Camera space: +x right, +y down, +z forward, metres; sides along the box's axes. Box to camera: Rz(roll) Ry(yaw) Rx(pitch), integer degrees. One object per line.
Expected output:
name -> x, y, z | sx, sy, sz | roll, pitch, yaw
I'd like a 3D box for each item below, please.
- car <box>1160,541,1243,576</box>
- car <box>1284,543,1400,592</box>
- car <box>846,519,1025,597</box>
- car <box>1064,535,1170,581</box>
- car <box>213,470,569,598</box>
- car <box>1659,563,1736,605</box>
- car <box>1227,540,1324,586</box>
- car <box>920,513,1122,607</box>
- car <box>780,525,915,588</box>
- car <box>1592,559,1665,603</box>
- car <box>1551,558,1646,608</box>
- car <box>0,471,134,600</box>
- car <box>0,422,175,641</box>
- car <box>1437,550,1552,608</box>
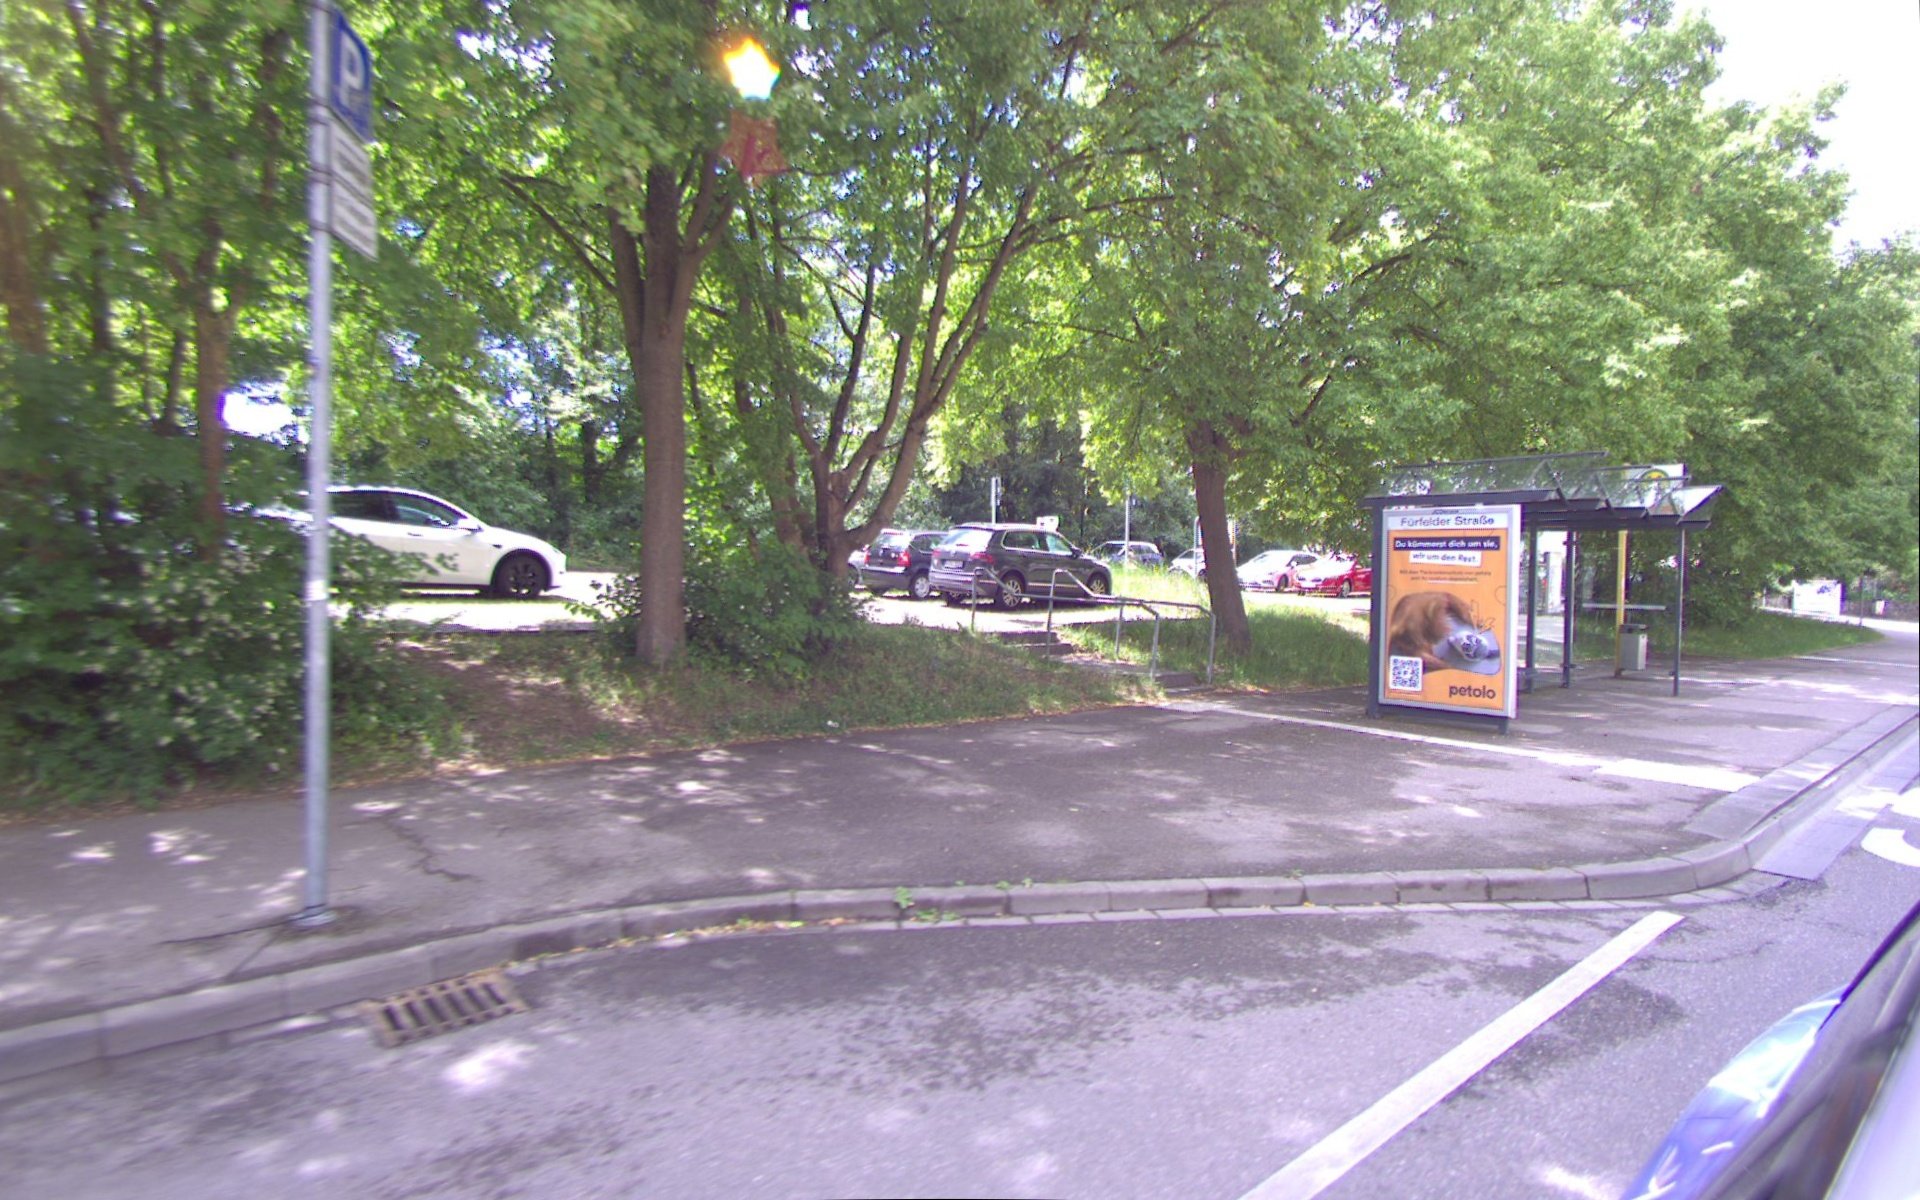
car -> 10.355, -1.745, 43.227 | 3.599, 1.344, 1.634 | 0, 4, -41
car -> 13.069, -1.085, 34.523 | 4.465, 1.495, 1.756 | 0, 4, -42
car -> -0.493, -0.954, 22.246 | 3.730, 1.509, 1.691 | -2, 6, -42
car -> 6.217, -1.634, 39.888 | 4.030, 1.644, 2.062 | 0, 2, -43
car -> -8.240, -0.907, 14.899 | 4.352, 1.574, 1.474 | 1, 4, -39
car -> 29.278, -0.677, 40.146 | 3.752, 1.530, 1.826 | -2, 4, -44
car -> 11.236, -1.289, 35.955 | 3.599, 1.495, 1.634 | 0, 4, -41
car -> 1.325, -0.858, 20.803 | 4.191, 1.714, 1.691 | -2, 6, -43
car -> -2.576, -1.029, 23.471 | 2.812, 1.318, 1.410 | -2, 6, -42
car -> 28.070, -0.830, 42.456 | 3.842, 1.654, 1.681 | -2, 7, -44
car -> 21.262, -0.570, 33.658 | 3.599, 1.518, 1.665 | 0, 4, -41
car -> -12.139, -0.782, 11.463 | 4.277, 1.459, 1.616 | 0, 4, -41
car -> -8.906, -0.536, 7.625 | 4.641, 1.683, 1.850 | 0, 1, -41
car -> 16.023, -0.629, 30.253 | 4.067, 1.532, 1.630 | 0, 5, -42
